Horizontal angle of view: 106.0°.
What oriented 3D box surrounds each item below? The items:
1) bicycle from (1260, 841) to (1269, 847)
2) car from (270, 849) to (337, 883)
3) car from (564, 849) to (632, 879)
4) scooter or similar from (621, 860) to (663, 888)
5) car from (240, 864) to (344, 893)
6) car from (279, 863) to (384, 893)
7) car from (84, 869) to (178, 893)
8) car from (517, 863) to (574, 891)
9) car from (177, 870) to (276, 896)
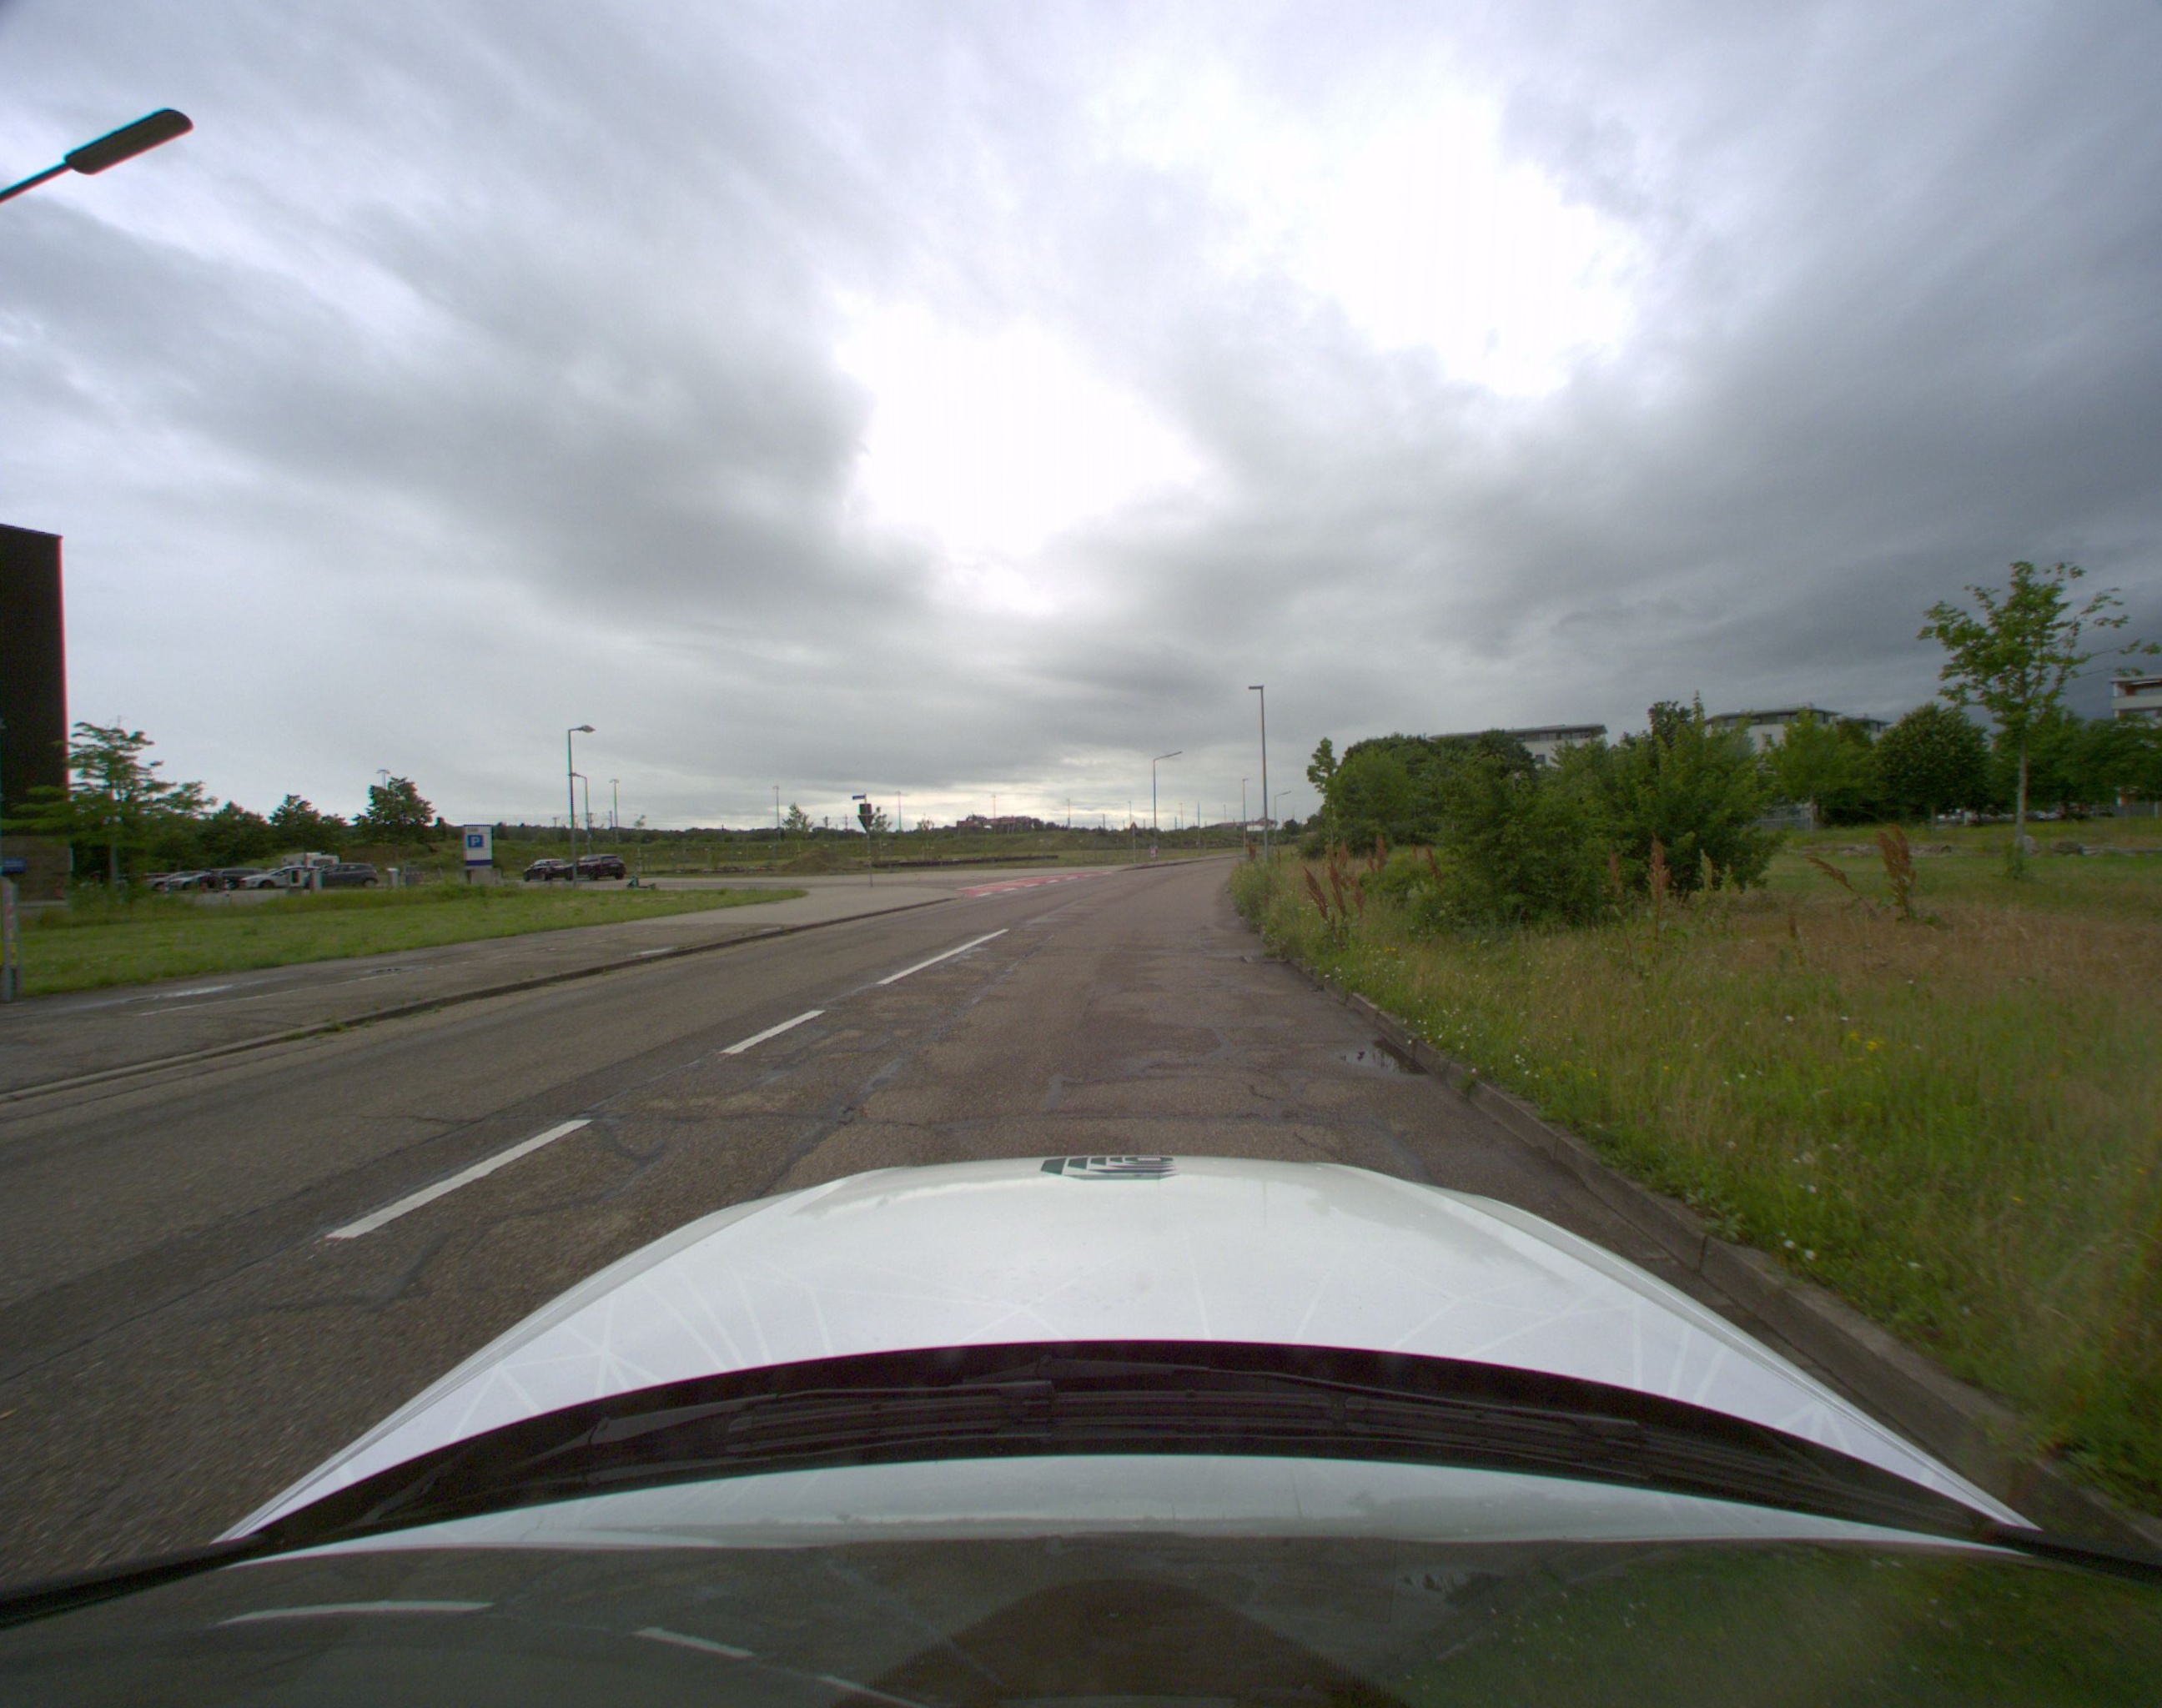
[{"bbox_3d":[27.857,-1.483,123.594,0.796,0.907,2.245,-1,1,23],"label":"bicycle"},{"bbox_3d":[-72.336,1.166,75.746,6.492,2.956,2.732,-1,1,30],"label":"car"},{"bbox_3d":[-31.008,0.656,52.261,3.948,1.822,2.013,-1,1,31],"label":"car"},{"bbox_3d":[-18.584,0.832,34.475,1.456,1.168,0.572,-1,0,4],"label":"scooter or similar"},{"bbox_3d":[-48.956,1.504,50.634,1.976,1.517,4.177,-1,1,22],"label":"car"},{"bbox_3d":[-42.833,1.343,46.621,1.677,1.442,4.025,-1,1,28],"label":"car"},{"bbox_3d":[-67.706,1.884,58.116,1.723,1.458,4.024,-2,1,27],"label":"car"},{"bbox_3d":[-35.991,1.543,54.724,3.628,1.752,1.817,-1,1,32],"label":"car"},{"bbox_3d":[-55.354,1.856,52.827,1.723,1.398,4.024,-2,1,26],"label":"car"}]
